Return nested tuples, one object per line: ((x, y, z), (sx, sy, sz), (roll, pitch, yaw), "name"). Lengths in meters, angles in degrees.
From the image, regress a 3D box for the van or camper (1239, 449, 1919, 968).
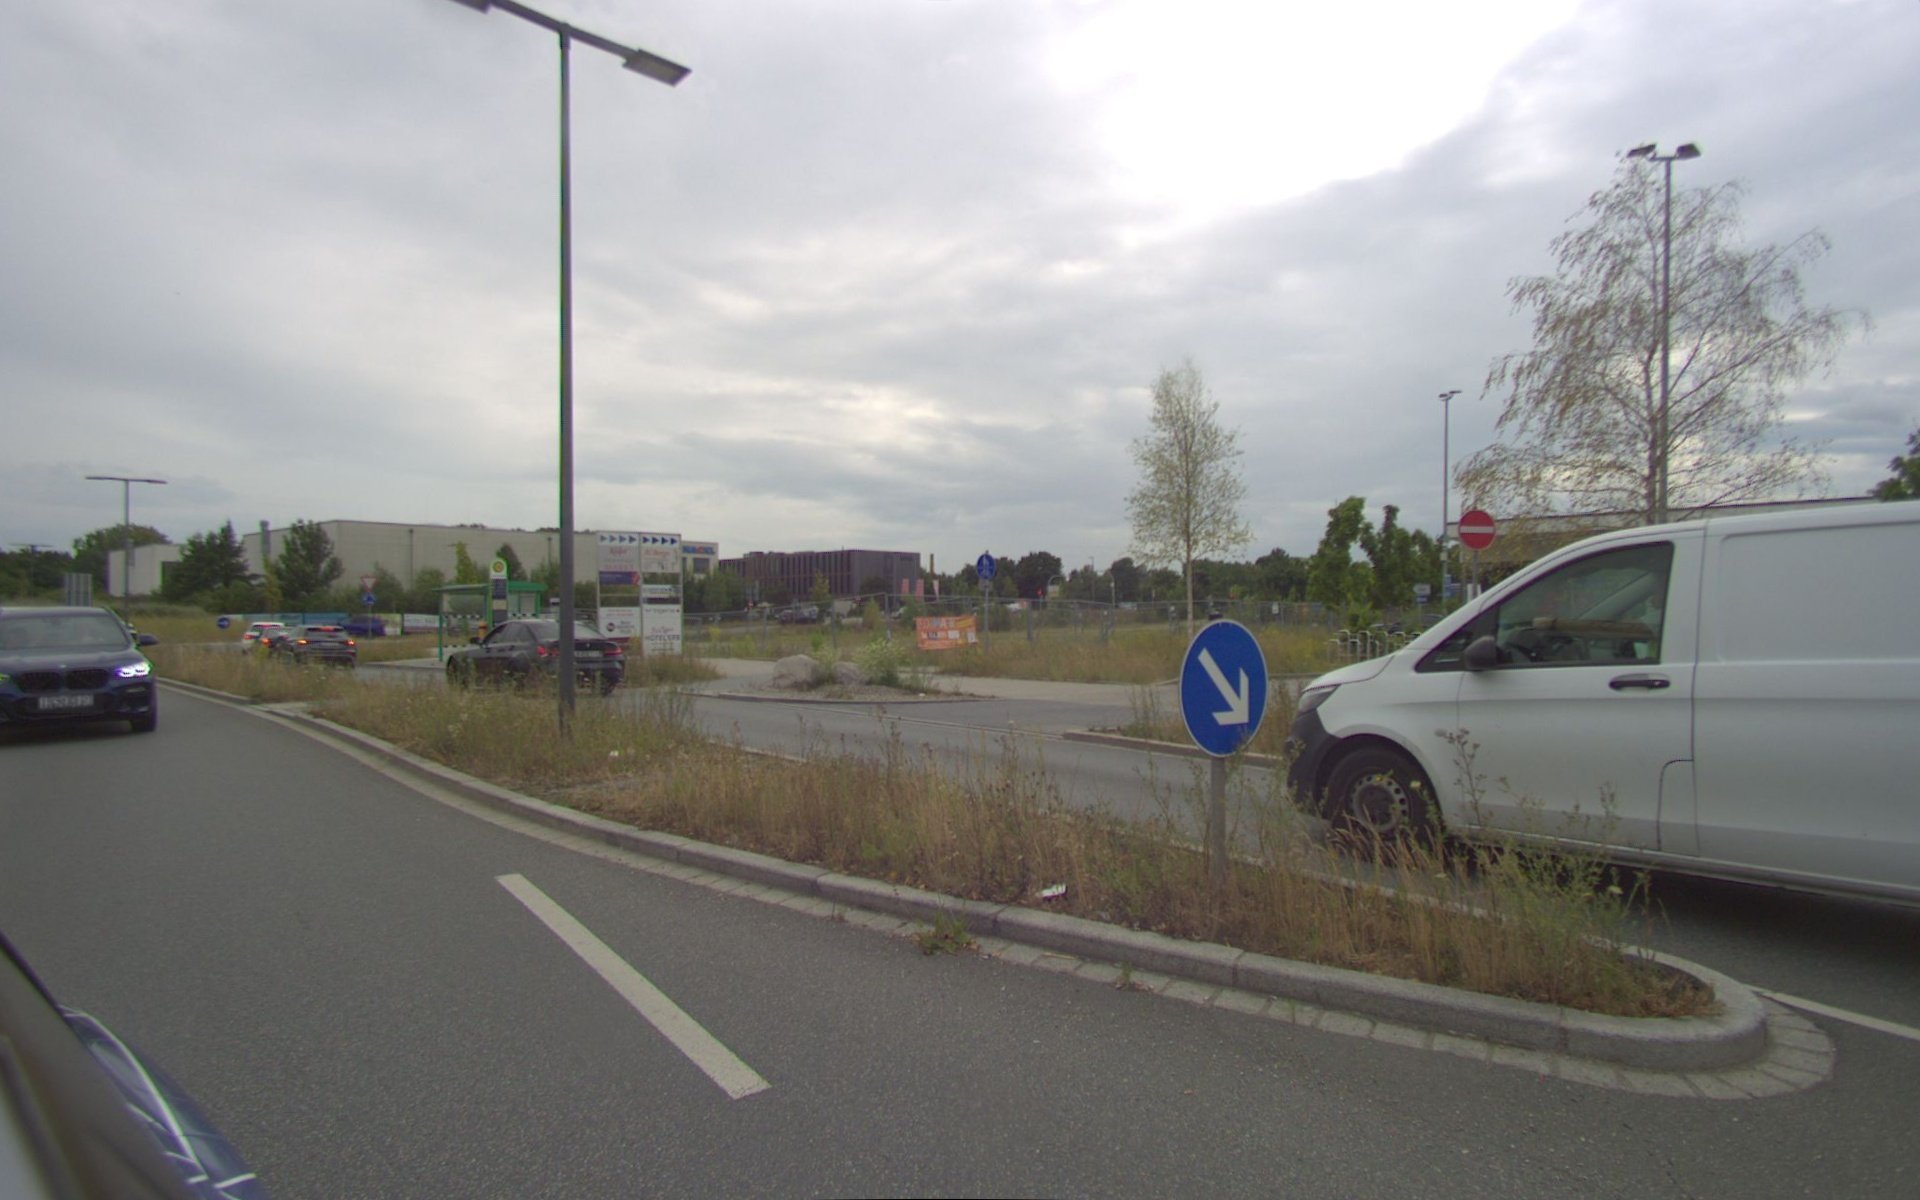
((4.069, 0.428, 4.764), (1.967, 1.926, 5.216), (2, -1, -36), "van or camper")

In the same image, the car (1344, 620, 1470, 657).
((20.702, 1.735, 46.994), (5.025, 1.569, 1.971), (0, -1, 44), "car")

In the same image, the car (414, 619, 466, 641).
((-34.043, 1.968, 66.319), (1.540, 1.364, 3.289), (0, -1, 4), "car")

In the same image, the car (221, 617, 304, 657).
((-26.558, 1.382, 38.467), (4.373, 1.406, 1.765), (-1, -2, 44), "car")

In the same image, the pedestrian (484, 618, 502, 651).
((-24.942, 1.850, 54.068), (0.731, 1.735, 0.652), (1, -1, -9), "pedestrian")

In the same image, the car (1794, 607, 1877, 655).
((34.247, 1.158, 39.559), (4.167, 1.713, 1.833), (-1, 0, -40), "car")

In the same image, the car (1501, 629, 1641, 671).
((22.216, 1.784, 36.876), (1.970, 1.362, 4.003), (1, -1, -45), "car")

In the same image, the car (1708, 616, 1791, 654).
((32.442, 1.404, 41.544), (3.937, 1.455, 1.916), (1, -1, -40), "car")

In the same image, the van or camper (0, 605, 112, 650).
((-40.035, 1.177, 43.920), (4.760, 1.905, 1.989), (0, -1, -34), "van or camper")

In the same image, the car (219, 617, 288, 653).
((-31.295, 1.507, 44.790), (4.057, 1.492, 1.733), (0, -1, 44), "car")

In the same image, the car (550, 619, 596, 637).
((-30.498, 2.190, 79.854), (1.698, 1.353, 4.055), (0, 0, 8), "car")

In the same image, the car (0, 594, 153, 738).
((-12.007, 0.787, 13.419), (1.865, 1.652, 4.006), (1, -1, -41), "car")

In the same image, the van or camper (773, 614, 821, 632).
((-16.317, 2.304, 101.386), (2.000, 1.762, 4.508), (0, -1, 42), "van or camper")

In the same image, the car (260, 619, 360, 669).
((-21.261, 1.381, 33.052), (4.321, 1.478, 1.772), (-1, -1, 43), "car")

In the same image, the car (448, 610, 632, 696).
((-8.273, 0.943, 19.693), (1.759, 1.456, 4.614), (-1, 0, -44), "car")
